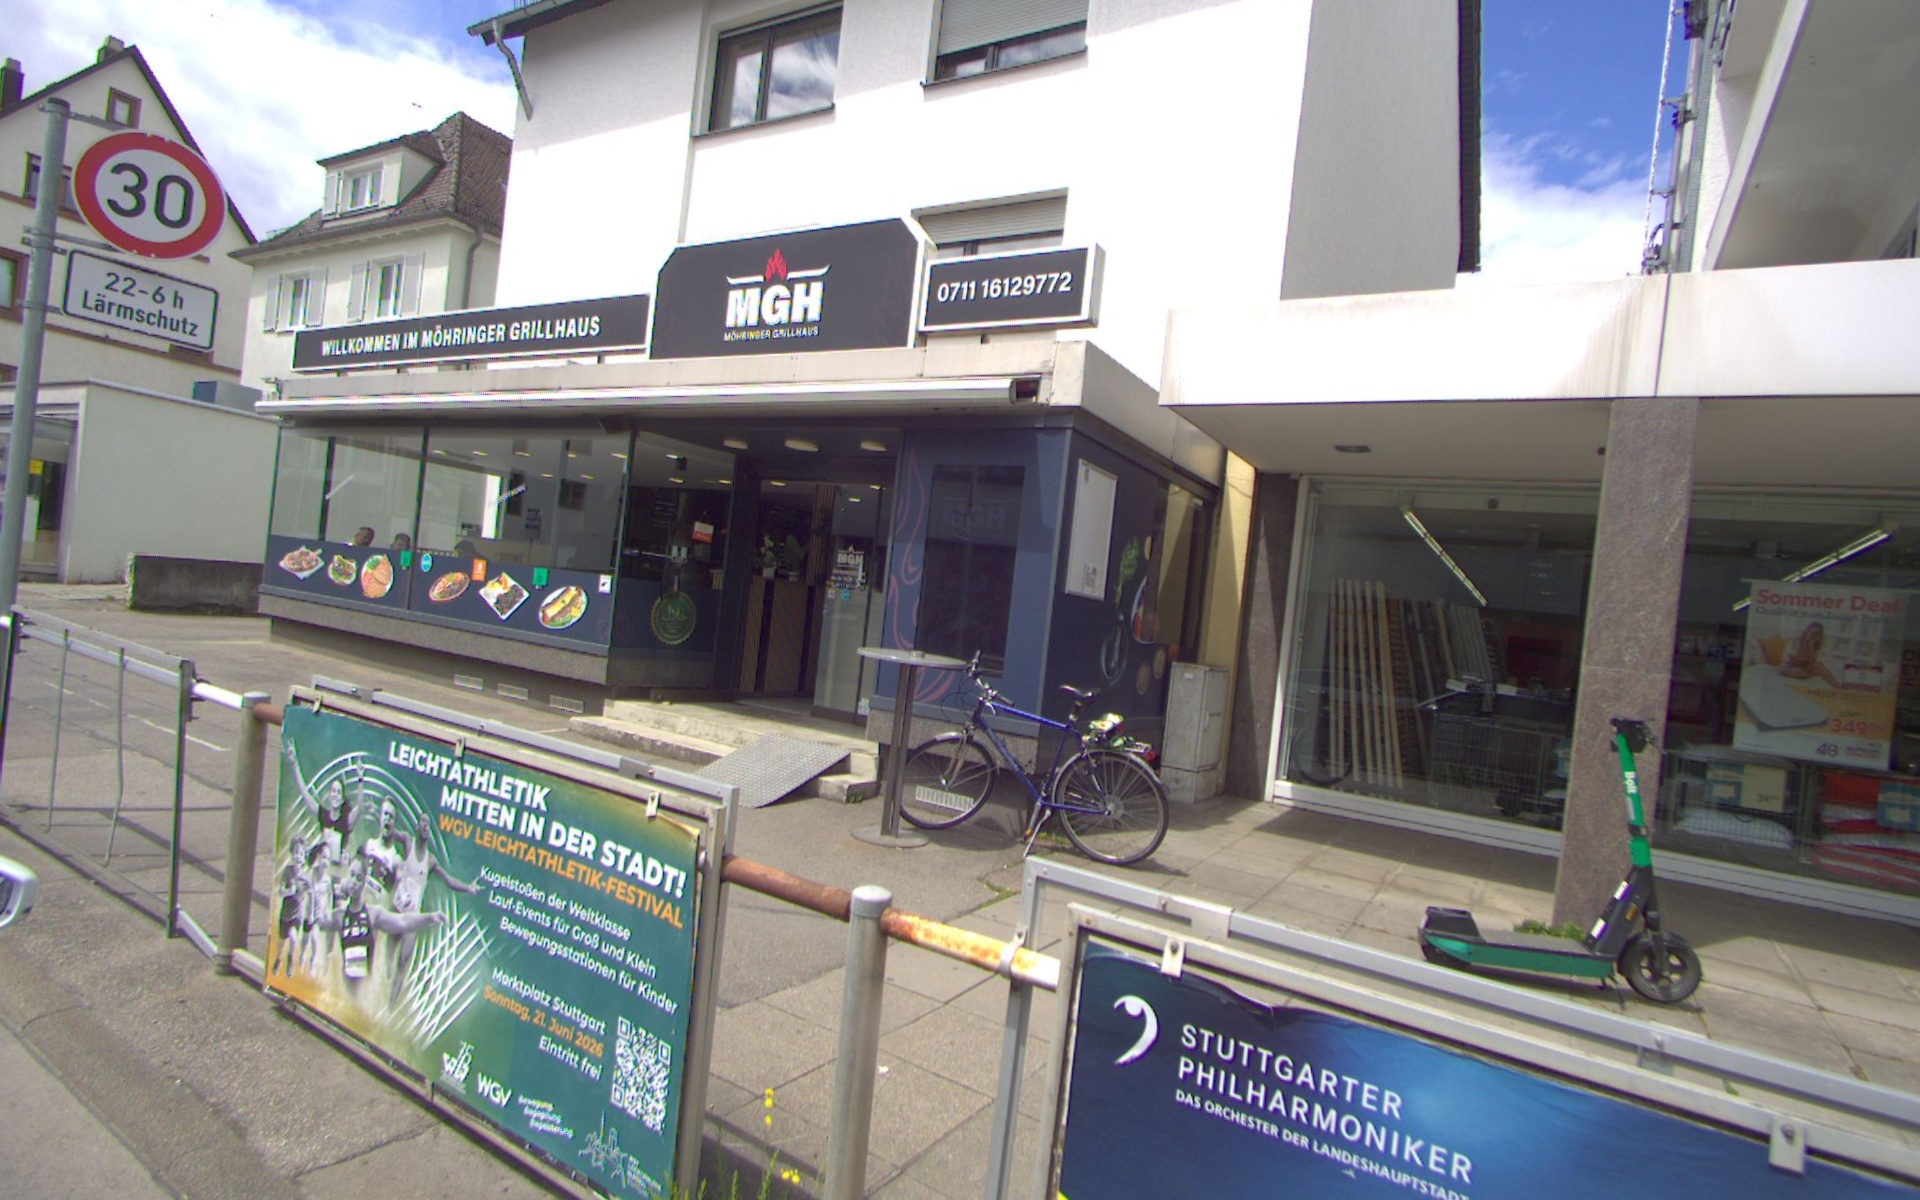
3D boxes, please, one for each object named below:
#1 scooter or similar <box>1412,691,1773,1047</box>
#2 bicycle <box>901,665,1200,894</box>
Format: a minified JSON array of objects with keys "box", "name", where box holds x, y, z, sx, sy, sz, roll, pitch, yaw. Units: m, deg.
[{"box":[2.820,1.150,4.636,1.163,1.283,0.689,6,1,20],"name":"scooter or similar"},{"box":[0.523,1.011,6.001,1.606,1.041,0.476,7,1,23],"name":"bicycle"}]
